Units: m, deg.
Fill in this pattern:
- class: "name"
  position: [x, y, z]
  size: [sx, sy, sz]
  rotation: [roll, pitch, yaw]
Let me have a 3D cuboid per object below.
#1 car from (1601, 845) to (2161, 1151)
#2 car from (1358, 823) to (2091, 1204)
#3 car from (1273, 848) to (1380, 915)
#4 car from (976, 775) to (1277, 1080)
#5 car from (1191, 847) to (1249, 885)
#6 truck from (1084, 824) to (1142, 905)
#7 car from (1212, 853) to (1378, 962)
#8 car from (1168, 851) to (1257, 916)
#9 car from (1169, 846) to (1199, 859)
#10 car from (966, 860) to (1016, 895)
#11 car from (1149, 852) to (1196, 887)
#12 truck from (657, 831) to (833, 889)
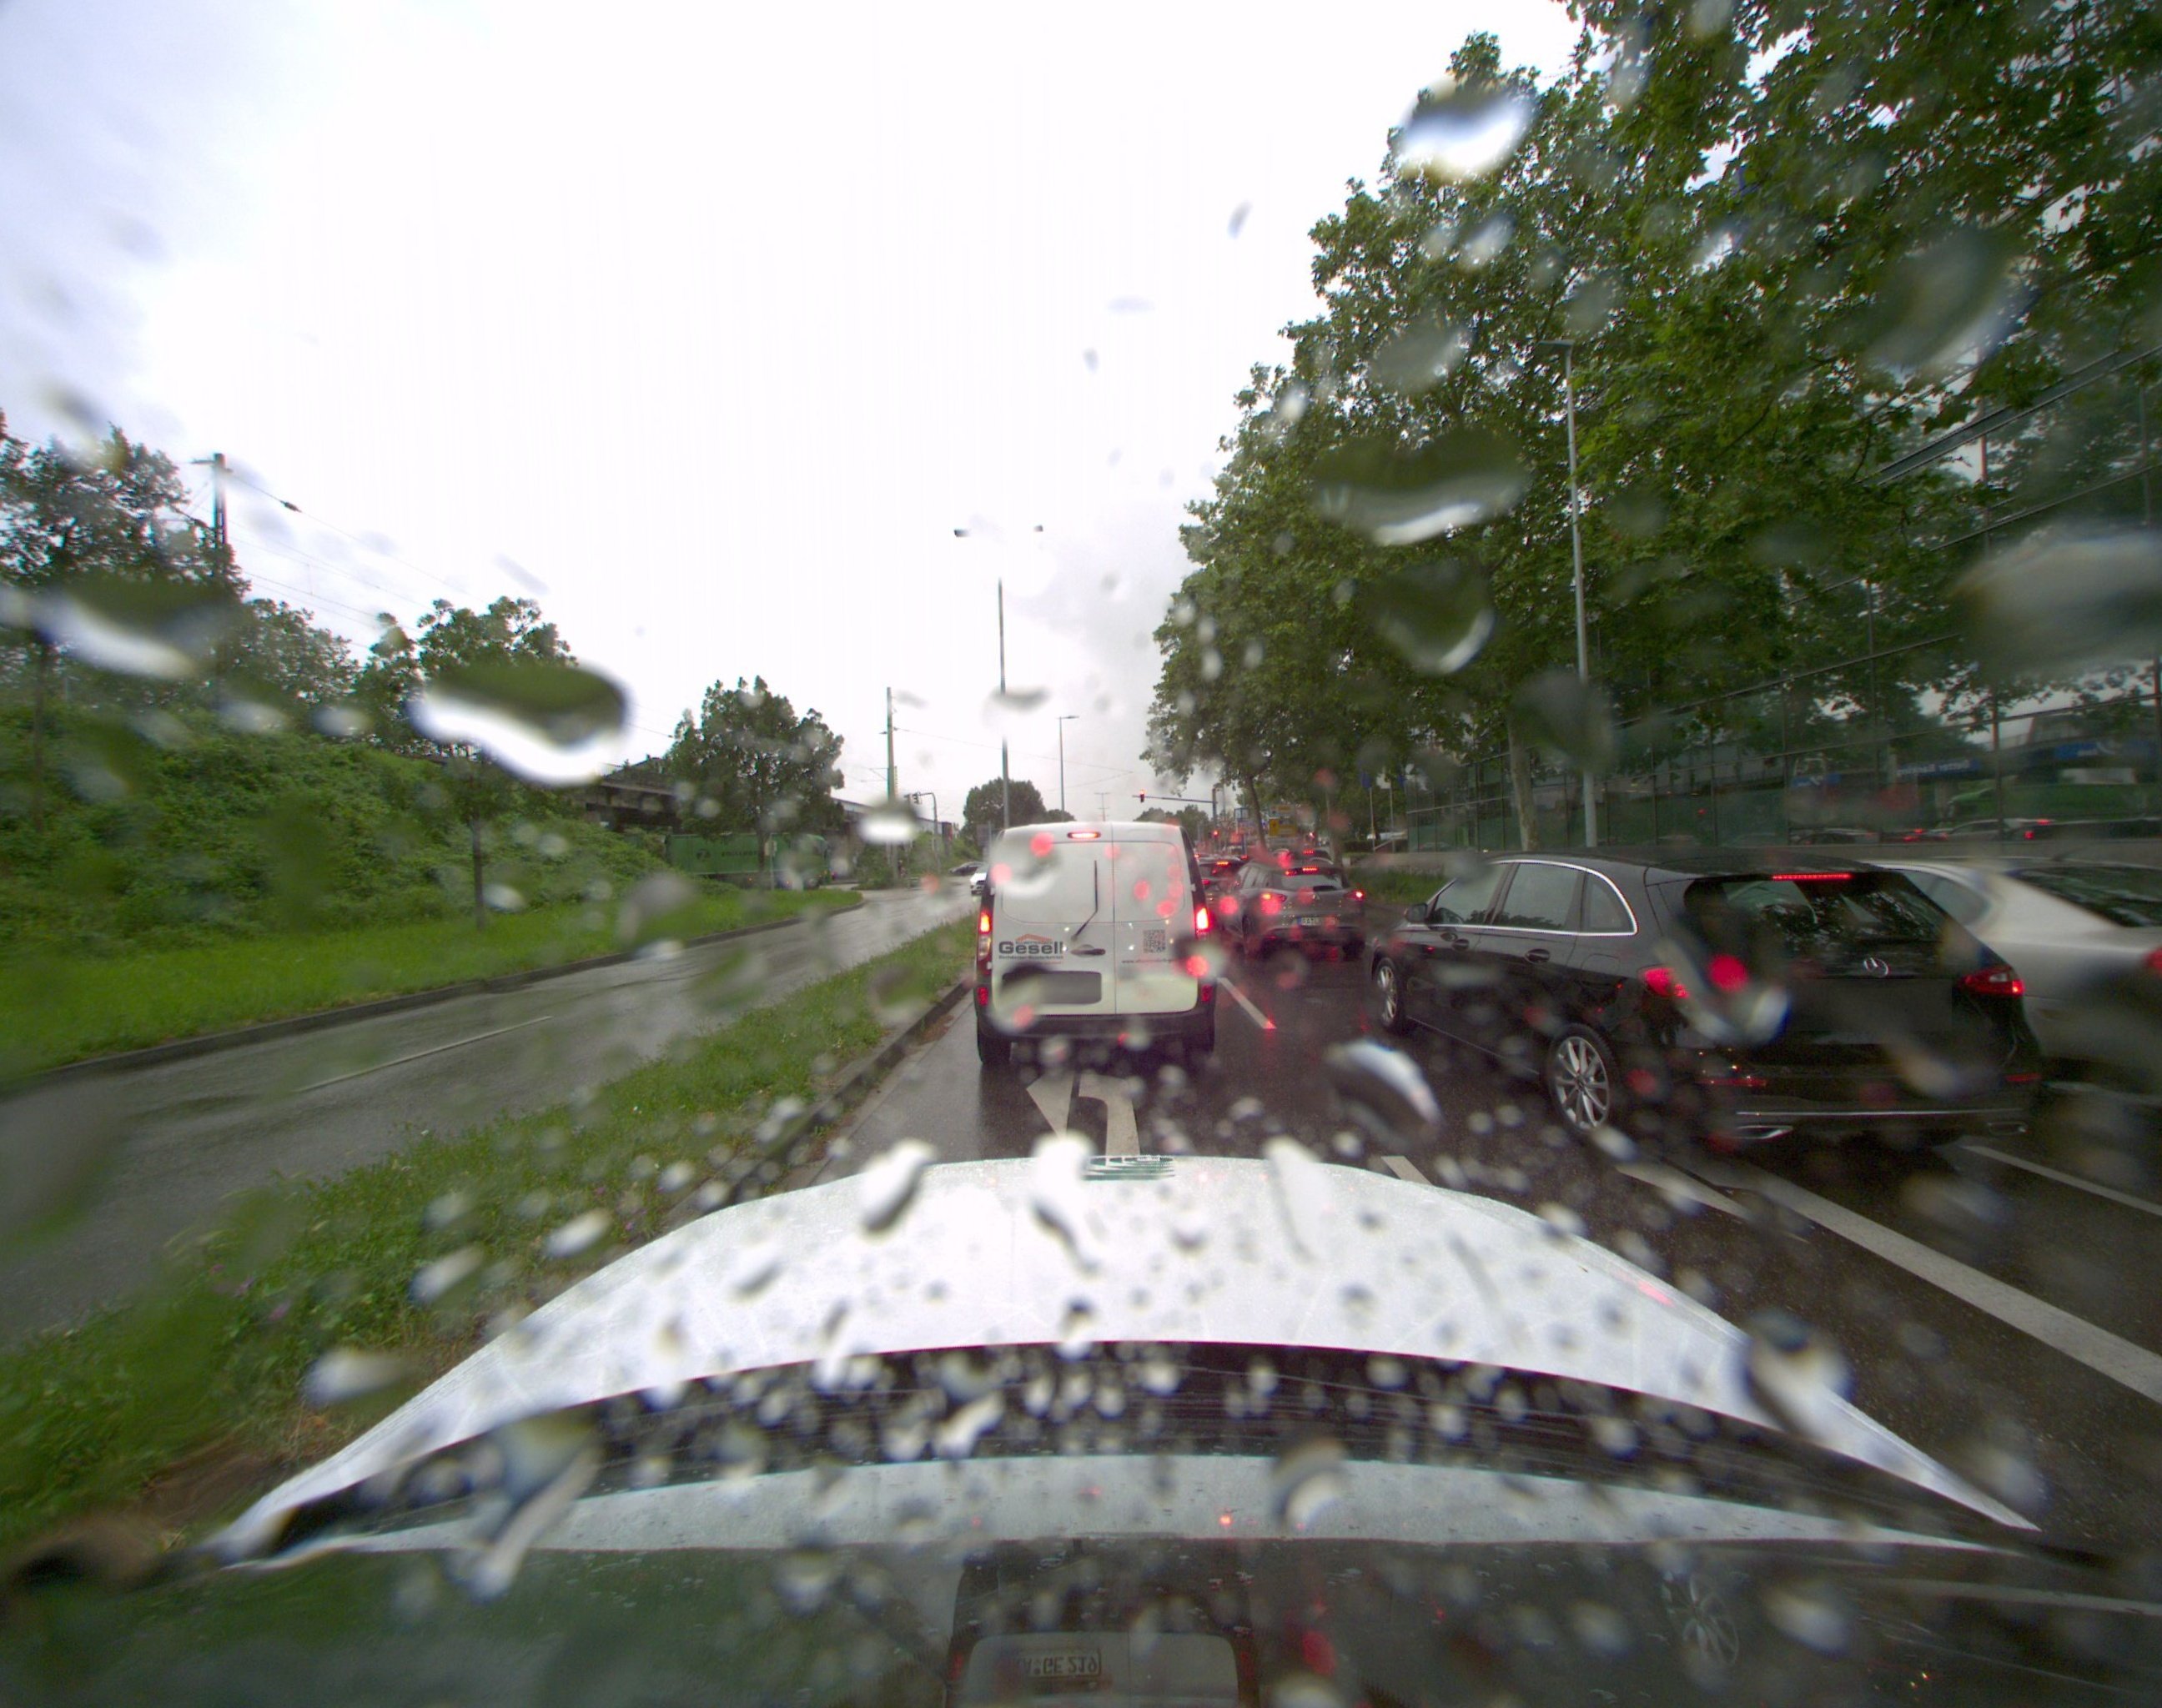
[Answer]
- class: "car"
  position: [6.092, 0.692, 5.997]
  size: [1.796, 1.430, 4.388]
  rotation: [-2, -1, 2]
- class: "car"
  position: [3.379, 0.644, 5.405]
  size: [1.703, 1.550, 4.000]
  rotation: [-1, 1, 0]
- class: "car"
  position: [6.926, 0.747, 23.434]
  size: [1.850, 1.726, 4.190]
  rotation: [-1, -1, 0]
- class: "car"
  position: [0.312, 0.487, 7.465]
  size: [1.987, 2.013, 4.000]
  rotation: [-1, 0, 0]
- class: "car"
  position: [5.942, 0.520, 35.172]
  size: [1.833, 1.537, 4.111]
  rotation: [-1, -1, 1]
- class: "truck"
  position: [1.004, 0.347, 27.159]
  size: [1.751, 2.466, 3.999]
  rotation: [-1, -1, 0]
- class: "car"
  position: [3.244, 0.725, 13.126]
  size: [1.705, 1.445, 4.001]
  rotation: [-1, 0, 2]
- class: "car"
  position: [3.230, 0.680, 20.689]
  size: [1.705, 1.445, 4.001]
  rotation: [-1, 0, 2]
- class: "car"
  position: [15.006, -0.149, 118.588]
  size: [3.951, 1.713, 1.783]
  rotation: [-2, -2, 23]
- class: "car"
  position: [-4.371, 1.122, 40.185]
  size: [1.819, 1.568, 4.002]
  rotation: [-3, 0, 2]
- class: "car"
  position: [3.972, 0.636, 35.892]
  size: [1.705, 1.445, 4.001]
  rotation: [-1, 0, 2]
- class: "truck"
  position: [-21.411, 0.407, 52.380]
  size: [10.184, 3.452, 2.629]
  rotation: [0, -2, -36]
